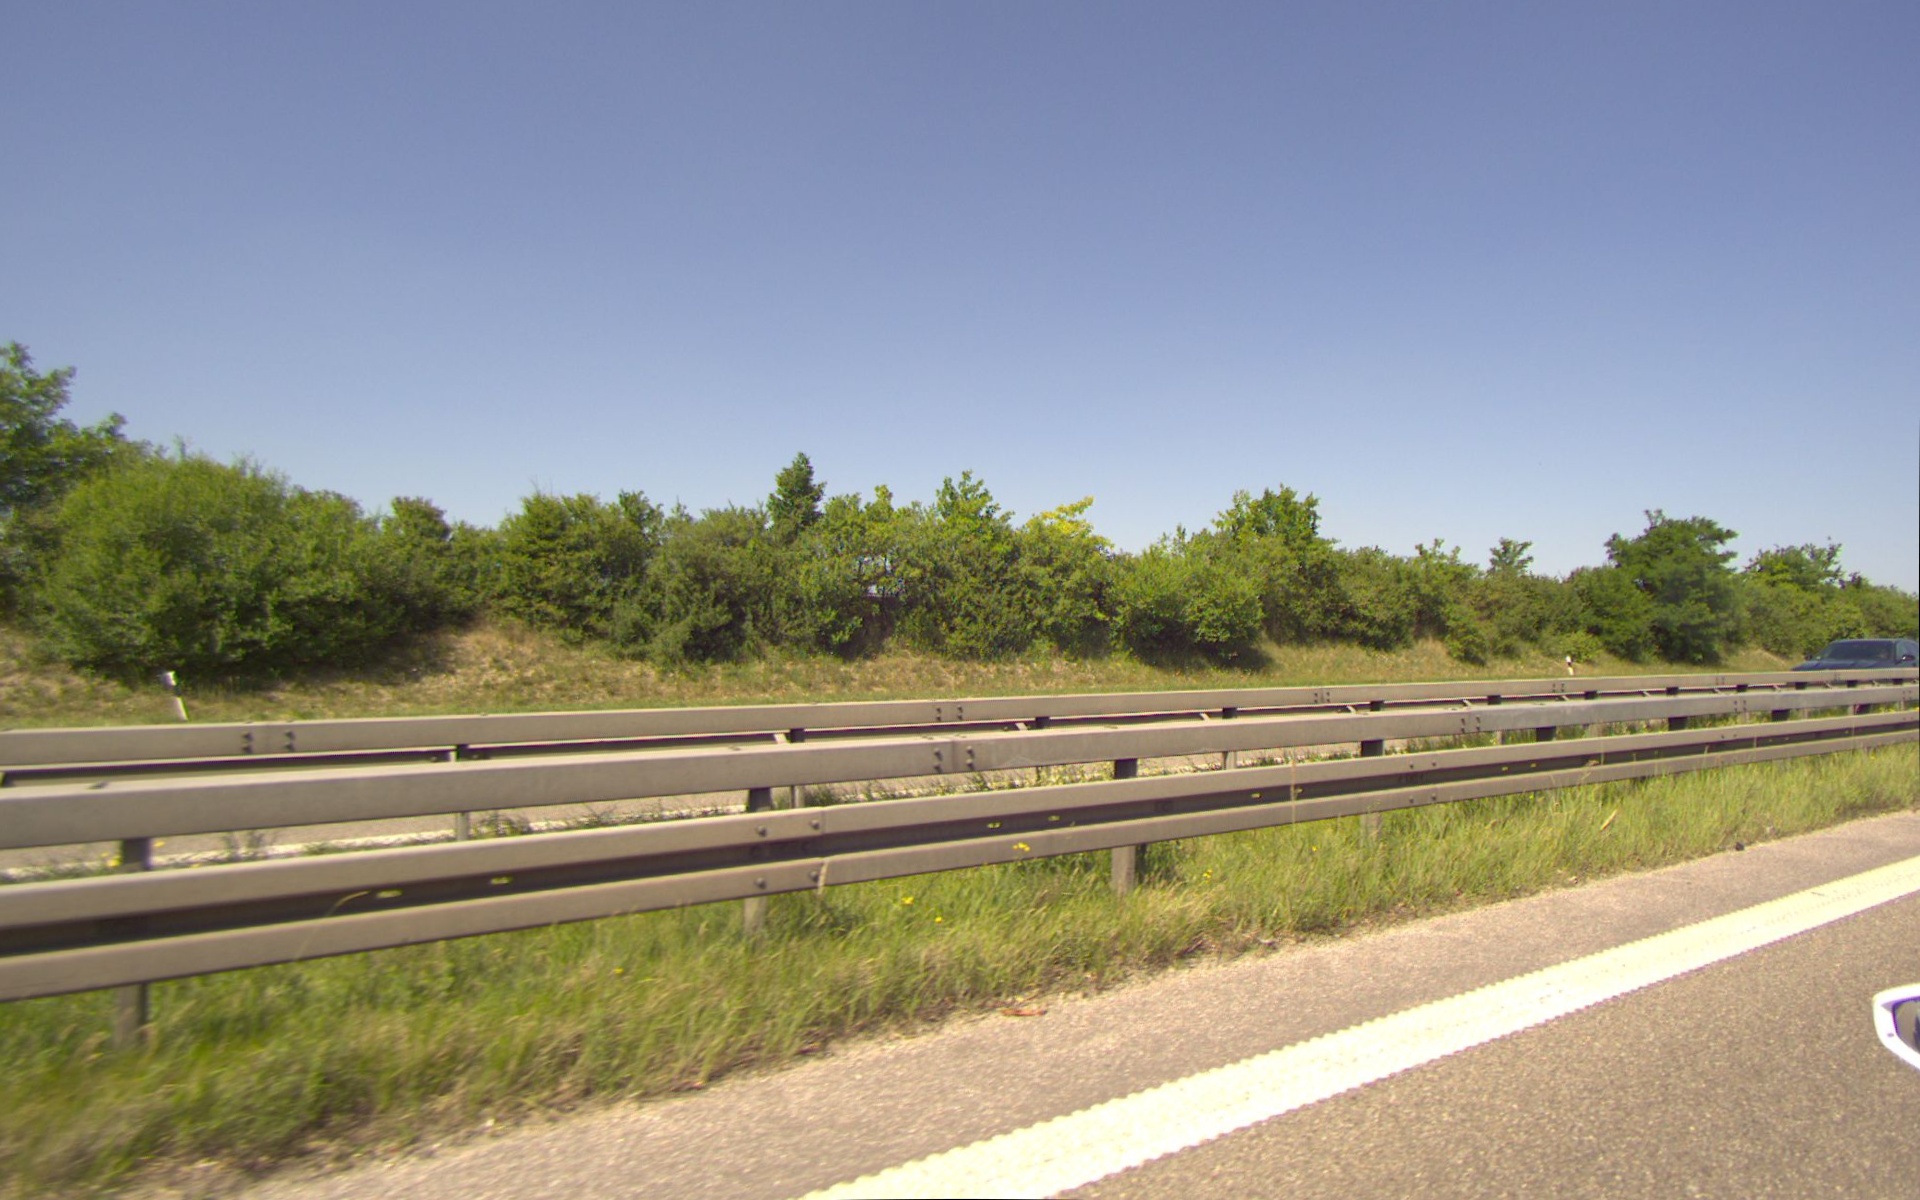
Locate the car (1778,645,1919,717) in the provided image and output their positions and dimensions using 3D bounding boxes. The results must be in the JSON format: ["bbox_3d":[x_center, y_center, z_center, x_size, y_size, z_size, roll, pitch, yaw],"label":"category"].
[{"bbox_3d":[20.932,1.792,23.118,4.155,1.458,1.984,1,-1,-31],"label":"car"}]
